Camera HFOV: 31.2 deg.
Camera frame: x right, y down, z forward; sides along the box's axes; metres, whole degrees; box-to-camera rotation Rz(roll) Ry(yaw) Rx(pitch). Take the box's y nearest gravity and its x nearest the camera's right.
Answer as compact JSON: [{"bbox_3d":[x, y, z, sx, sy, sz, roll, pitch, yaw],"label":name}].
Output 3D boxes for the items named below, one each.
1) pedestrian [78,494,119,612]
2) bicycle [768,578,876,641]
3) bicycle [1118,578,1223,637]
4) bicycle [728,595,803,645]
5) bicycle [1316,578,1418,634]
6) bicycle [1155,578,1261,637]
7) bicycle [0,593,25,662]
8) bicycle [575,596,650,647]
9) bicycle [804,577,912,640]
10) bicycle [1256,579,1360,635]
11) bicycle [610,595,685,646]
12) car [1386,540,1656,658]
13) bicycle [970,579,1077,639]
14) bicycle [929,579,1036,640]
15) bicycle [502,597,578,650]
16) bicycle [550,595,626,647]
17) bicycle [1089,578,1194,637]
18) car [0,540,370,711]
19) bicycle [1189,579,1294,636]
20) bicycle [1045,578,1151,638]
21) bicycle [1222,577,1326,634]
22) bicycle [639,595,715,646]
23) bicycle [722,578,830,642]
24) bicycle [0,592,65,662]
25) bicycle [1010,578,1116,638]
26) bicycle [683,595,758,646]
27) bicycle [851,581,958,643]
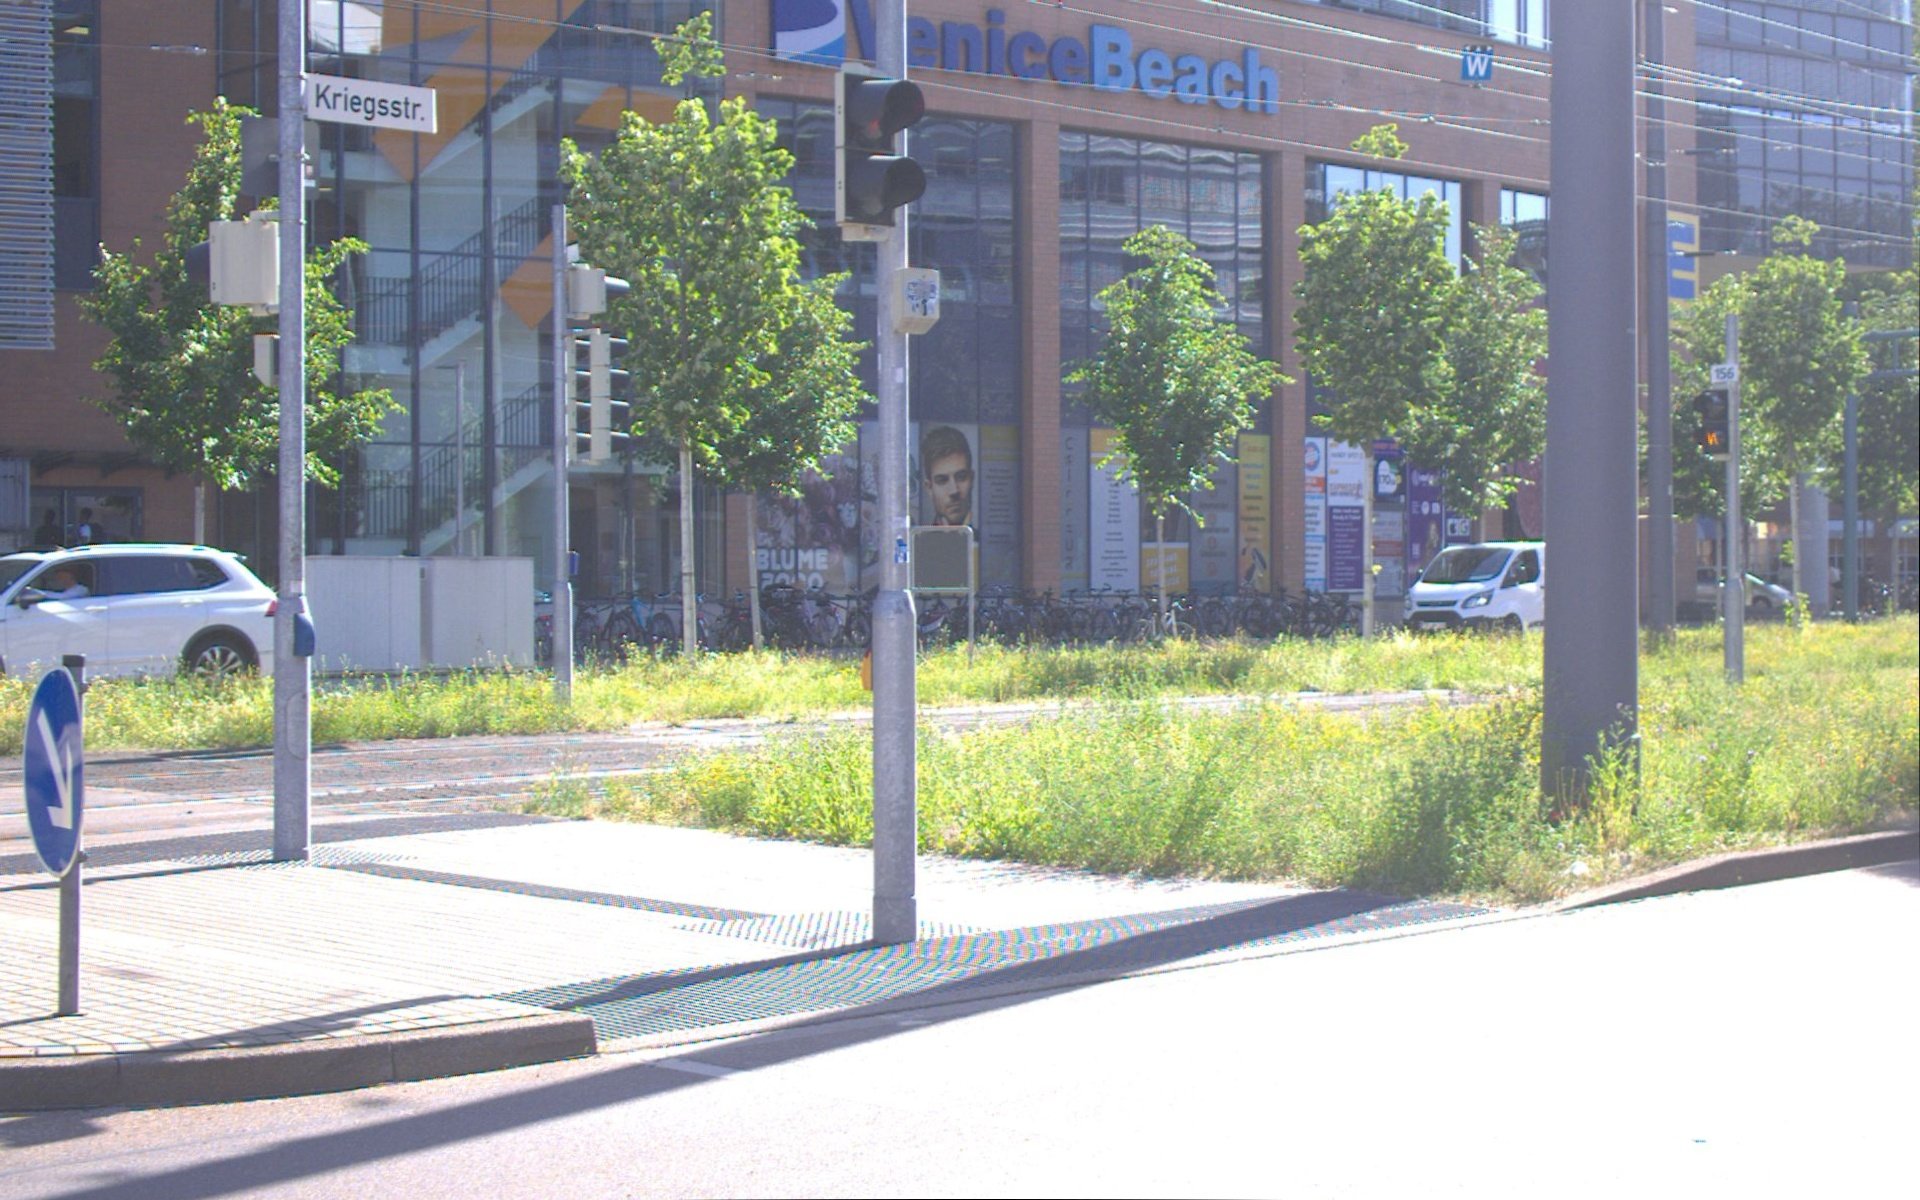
[{"bbox_3d":[-14.057,-0.759,56.093,0.539,1.908,0.374,1,-1,-30],"label":"pedestrian"},{"bbox_3d":[-2.591,0.162,64.435,0.751,1.119,2.179,0,2,-44],"label":"bicycle"},{"bbox_3d":[4.241,0.149,69.443,0.751,1.119,2.179,0,2,-44],"label":"bicycle"},{"bbox_3d":[-3.355,0.346,59.213,0.444,0.816,1.450,0,2,-44],"label":"bicycle"},{"bbox_3d":[8.683,0.122,73.461,0.751,1.119,2.179,0,2,-44],"label":"bicycle"},{"bbox_3d":[5.032,0.142,69.855,0.751,1.119,2.179,0,2,-44],"label":"bicycle"},{"bbox_3d":[-14.151,0.365,49.222,0.491,0.951,2.179,0,2,-44],"label":"bicycle"},{"bbox_3d":[-5.796,0.353,57.333,0.444,0.816,1.450,0,2,-44],"label":"bicycle"},{"bbox_3d":[-1.937,0.154,65.011,0.751,1.119,2.179,0,2,-44],"label":"bicycle"},{"bbox_3d":[7.309,0.136,72.272,0.751,1.119,2.179,0,2,-44],"label":"bicycle"},{"bbox_3d":[-5.248,0.335,57.694,0.444,0.816,1.450,0,2,-44],"label":"bicycle"},{"bbox_3d":[10.024,-0.037,61.163,2.226,2.007,5.243,1,1,43],"label":"car"},{"bbox_3d":[1.234,0.167,67.159,0.751,1.119,2.179,0,2,-44],"label":"bicycle"},{"bbox_3d":[0.433,0.176,66.545,0.751,1.119,2.179,0,2,-44],"label":"bicycle"},{"bbox_3d":[-6.875,0.374,56.210,0.444,0.816,1.450,0,2,-44],"label":"bicycle"},{"bbox_3d":[-6.156,0.343,56.839,0.444,0.816,1.450,0,2,-44],"label":"bicycle"},{"bbox_3d":[3.631,0.133,68.924,0.751,1.119,2.179,0,2,-44],"label":"bicycle"},{"bbox_3d":[-8.828,0.233,34.687,5.531,1.646,1.813,0,1,-41],"label":"car"},{"bbox_3d":[5.806,0.142,71.012,0.751,1.119,2.179,0,2,-44],"label":"bicycle"},{"bbox_3d":[2.743,0.147,68.408,0.751,1.119,2.179,0,2,-44],"label":"bicycle"},{"bbox_3d":[6.541,0.112,71.716,0.751,1.119,2.179,0,2,-44],"label":"bicycle"},{"bbox_3d":[-4.774,0.345,57.974,0.444,0.816,1.450,0,2,-44],"label":"bicycle"},{"bbox_3d":[-3.426,0.184,63.763,0.751,1.119,2.179,0,2,-44],"label":"bicycle"},{"bbox_3d":[-13.691,0.377,49.620,0.491,0.951,2.179,0,2,-44],"label":"bicycle"},{"bbox_3d":[2.024,0.148,67.832,0.751,1.119,2.179,0,2,-44],"label":"bicycle"},{"bbox_3d":[-4.080,0.347,58.460,0.444,0.816,1.450,0,2,-44],"label":"bicycle"},{"bbox_3d":[-1.065,0.216,65.432,0.751,1.119,2.179,0,2,-44],"label":"bicycle"}]
